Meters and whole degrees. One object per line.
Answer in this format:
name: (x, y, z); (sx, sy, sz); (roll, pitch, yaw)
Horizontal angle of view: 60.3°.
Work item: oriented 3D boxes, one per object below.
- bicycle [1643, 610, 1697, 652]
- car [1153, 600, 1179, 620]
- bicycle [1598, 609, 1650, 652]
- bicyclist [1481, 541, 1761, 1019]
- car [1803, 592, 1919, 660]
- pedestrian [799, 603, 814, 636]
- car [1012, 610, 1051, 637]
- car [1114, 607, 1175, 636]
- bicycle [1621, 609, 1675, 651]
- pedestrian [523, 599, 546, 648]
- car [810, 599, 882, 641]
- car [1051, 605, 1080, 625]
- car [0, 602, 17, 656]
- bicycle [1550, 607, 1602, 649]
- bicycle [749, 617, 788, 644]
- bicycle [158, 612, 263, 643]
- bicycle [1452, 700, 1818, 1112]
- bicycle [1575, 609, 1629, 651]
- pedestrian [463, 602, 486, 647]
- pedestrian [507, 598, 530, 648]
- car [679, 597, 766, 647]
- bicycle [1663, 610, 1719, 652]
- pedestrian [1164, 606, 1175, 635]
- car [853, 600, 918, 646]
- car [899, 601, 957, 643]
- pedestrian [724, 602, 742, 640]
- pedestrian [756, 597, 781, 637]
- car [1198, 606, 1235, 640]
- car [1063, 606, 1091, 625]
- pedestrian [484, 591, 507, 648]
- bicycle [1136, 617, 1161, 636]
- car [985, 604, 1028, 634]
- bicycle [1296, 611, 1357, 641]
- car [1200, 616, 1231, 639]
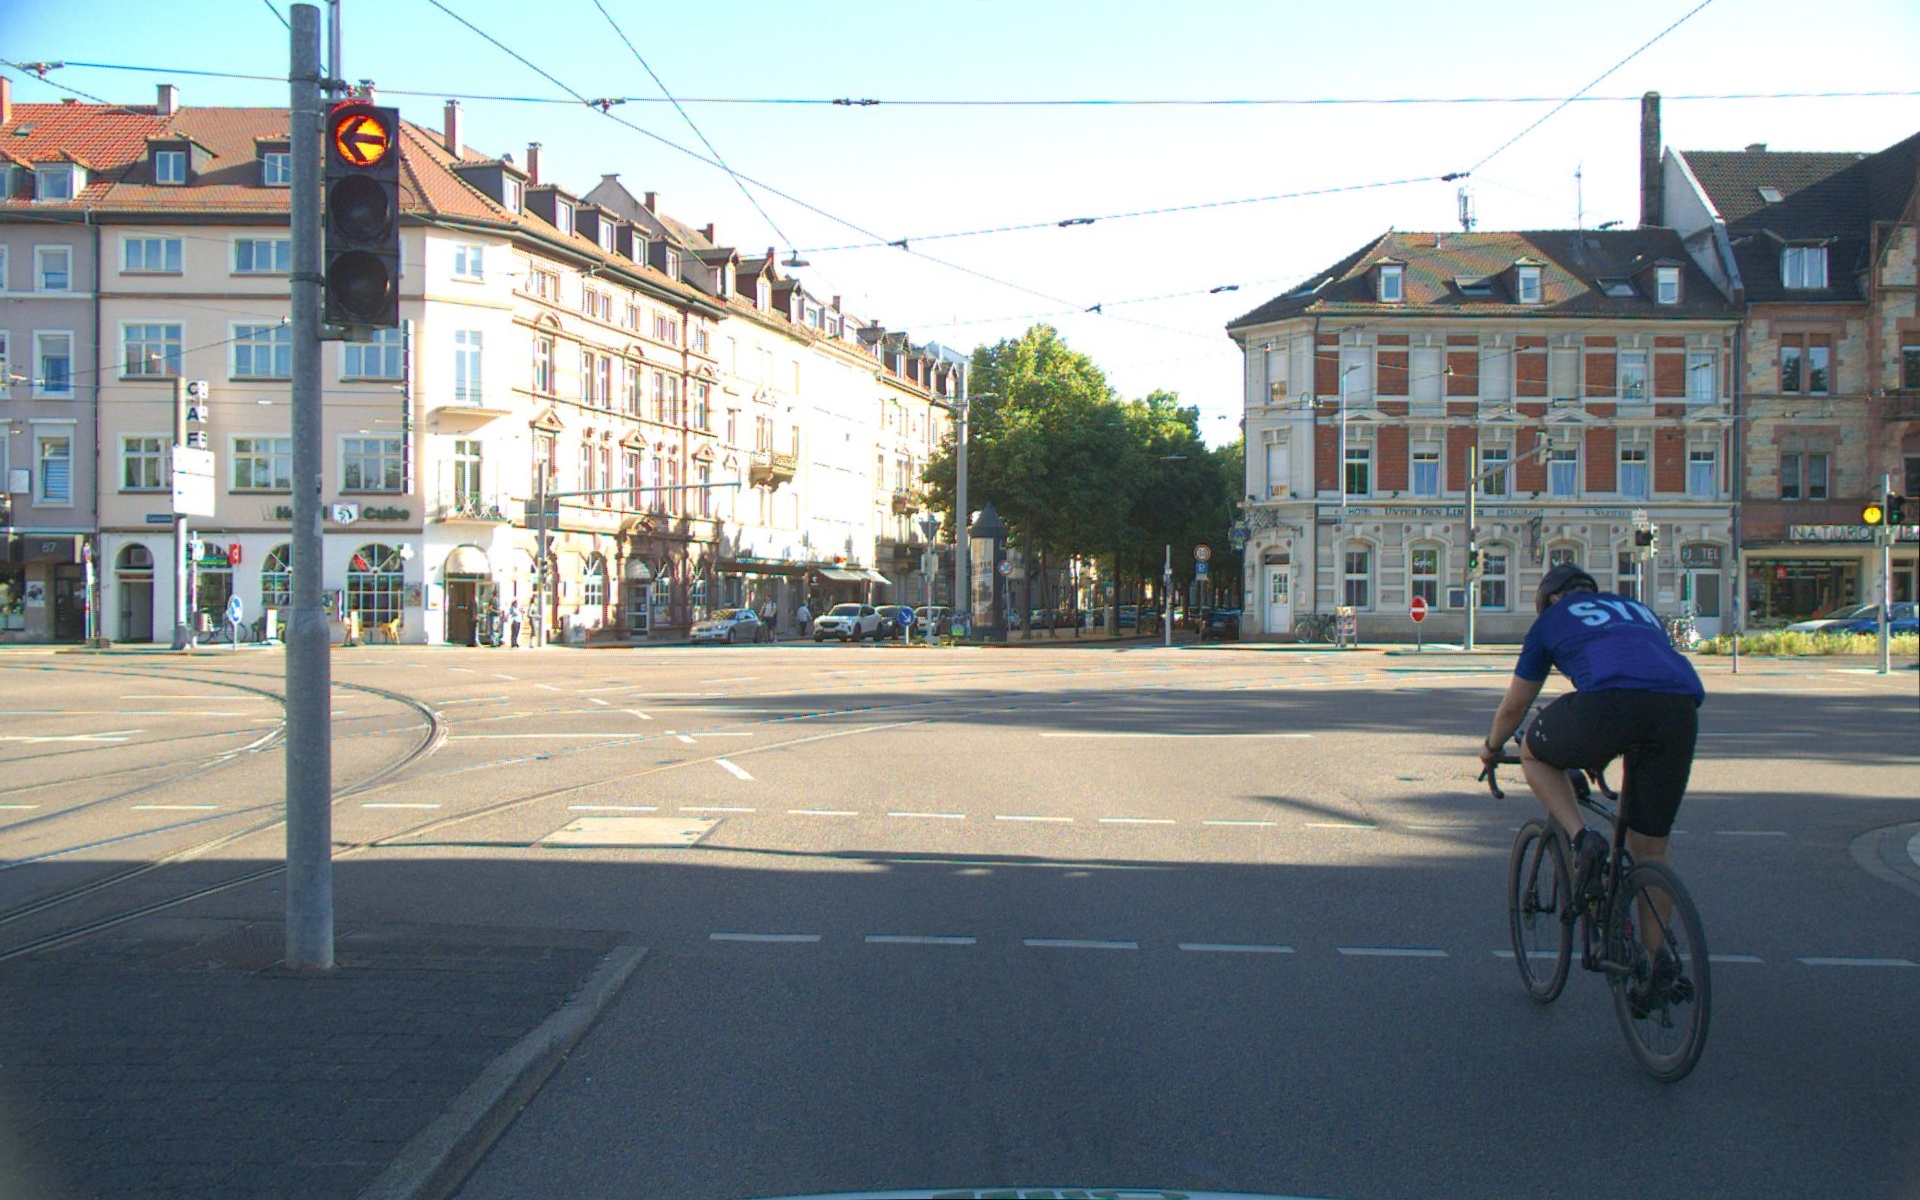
bicycle: (22.802, 0.973, 53.170); (0.615, 1.309, 2.661); (1, 0, 0)
car: (16.809, 0.834, 134.889); (1.526, 1.540, 3.658); (1, 0, 16)
bicycle: (21.309, 0.959, 53.143); (0.615, 1.309, 2.661); (1, 0, 0)
bicyclist: (2.252, 0.564, 5.736); (0.625, 1.520, 0.884); (1, 1, 3)
car: (25.823, 0.720, 46.041); (3.706, 1.809, 1.999); (1, 0, -2)
pedestrian: (-7.662, 0.972, 82.385); (0.532, 1.660, 0.707); (1, -1, 13)
car: (5.308, 1.712, 122.600); (1.951, 1.937, 4.002); (1, 0, 16)
car: (12.856, 1.464, 115.147); (3.902, 1.937, 2.001); (1, 0, 15)
bicycle: (22.087, 0.954, 53.146); (0.615, 1.309, 2.661); (1, 0, 0)
pedestrian: (-14.640, 0.804, 56.937); (0.620, 1.662, 0.700); (1, -1, -4)
car: (-4.597, 0.796, 67.239); (1.951, 1.646, 4.003); (1, 0, 11)
car: (8.408, 1.172, 131.868); (1.526, 1.540, 3.658); (1, 0, 16)
car: (-32.383, 0.916, 52.425); (3.902, 1.699, 2.002); (0, 0, 8)
bicycle: (19.764, 0.876, 53.099); (0.678, 1.309, 2.661); (1, 0, 0)
bicycle: (-7.526, 1.207, 65.154); (0.746, 1.025, 2.398); (1, 0, 13)
bicycle: (-25.513, 0.944, 56.347); (3.066, 0.997, 1.001); (1, 0, -1)
bicycle: (2.245, 0.953, 5.731); (0.613, 1.104, 1.703); (1, 0, 2)
bicycle: (20.599, 0.949, 53.121); (0.678, 1.309, 2.661); (1, 0, 0)
pedestrian: (-16.408, 0.836, 55.895); (0.620, 1.502, 0.465); (1, -1, -5)
pedestrian: (-14.857, 0.760, 55.667); (0.620, 1.662, 0.700); (1, -1, -4)
car: (-9.567, 0.877, 66.995); (1.951, 1.937, 4.002); (1, 0, 17)
bicycle: (23.486, 0.985, 53.168); (0.615, 1.309, 2.661); (1, 0, 0)
pedestrian: (12.950, 1.267, 102.051); (0.626, 1.827, 0.491); (1, -1, 12)
car: (-3.291, 1.013, 73.640); (1.951, 1.937, 4.003); (1, 0, 11)
car: (-1.515, 1.069, 79.730); (1.951, 1.937, 4.003); (1, 0, 11)
pedestrian: (-10.230, 0.944, 74.594); (0.532, 1.660, 0.707); (1, -1, 13)
pedestrian: (-7.538, 0.668, 65.082); (0.803, 1.539, 0.598); (1, -1, 14)
car: (12.872, 1.133, 82.770); (1.655, 1.592, 3.844); (1, 0, 11)
car: (9.641, 1.262, 136.317); (1.526, 1.540, 3.658); (1, 0, 16)
pedestrian: (-15.947, 0.666, 56.783); (0.620, 1.914, 0.465); (1, -1, -5)
bicycle: (11.286, 1.571, 99.218); (0.619, 1.104, 1.685); (1, 0, -31)
car: (3.186, 1.288, 112.732); (1.951, 1.937, 4.002); (1, 0, 16)
bicycle: (12.683, 0.890, 57.255); (2.006, 1.015, 0.631); (0, -1, 2)
car: (15.915, 1.678, 102.918); (1.716, 1.386, 3.859); (1, 0, 12)
